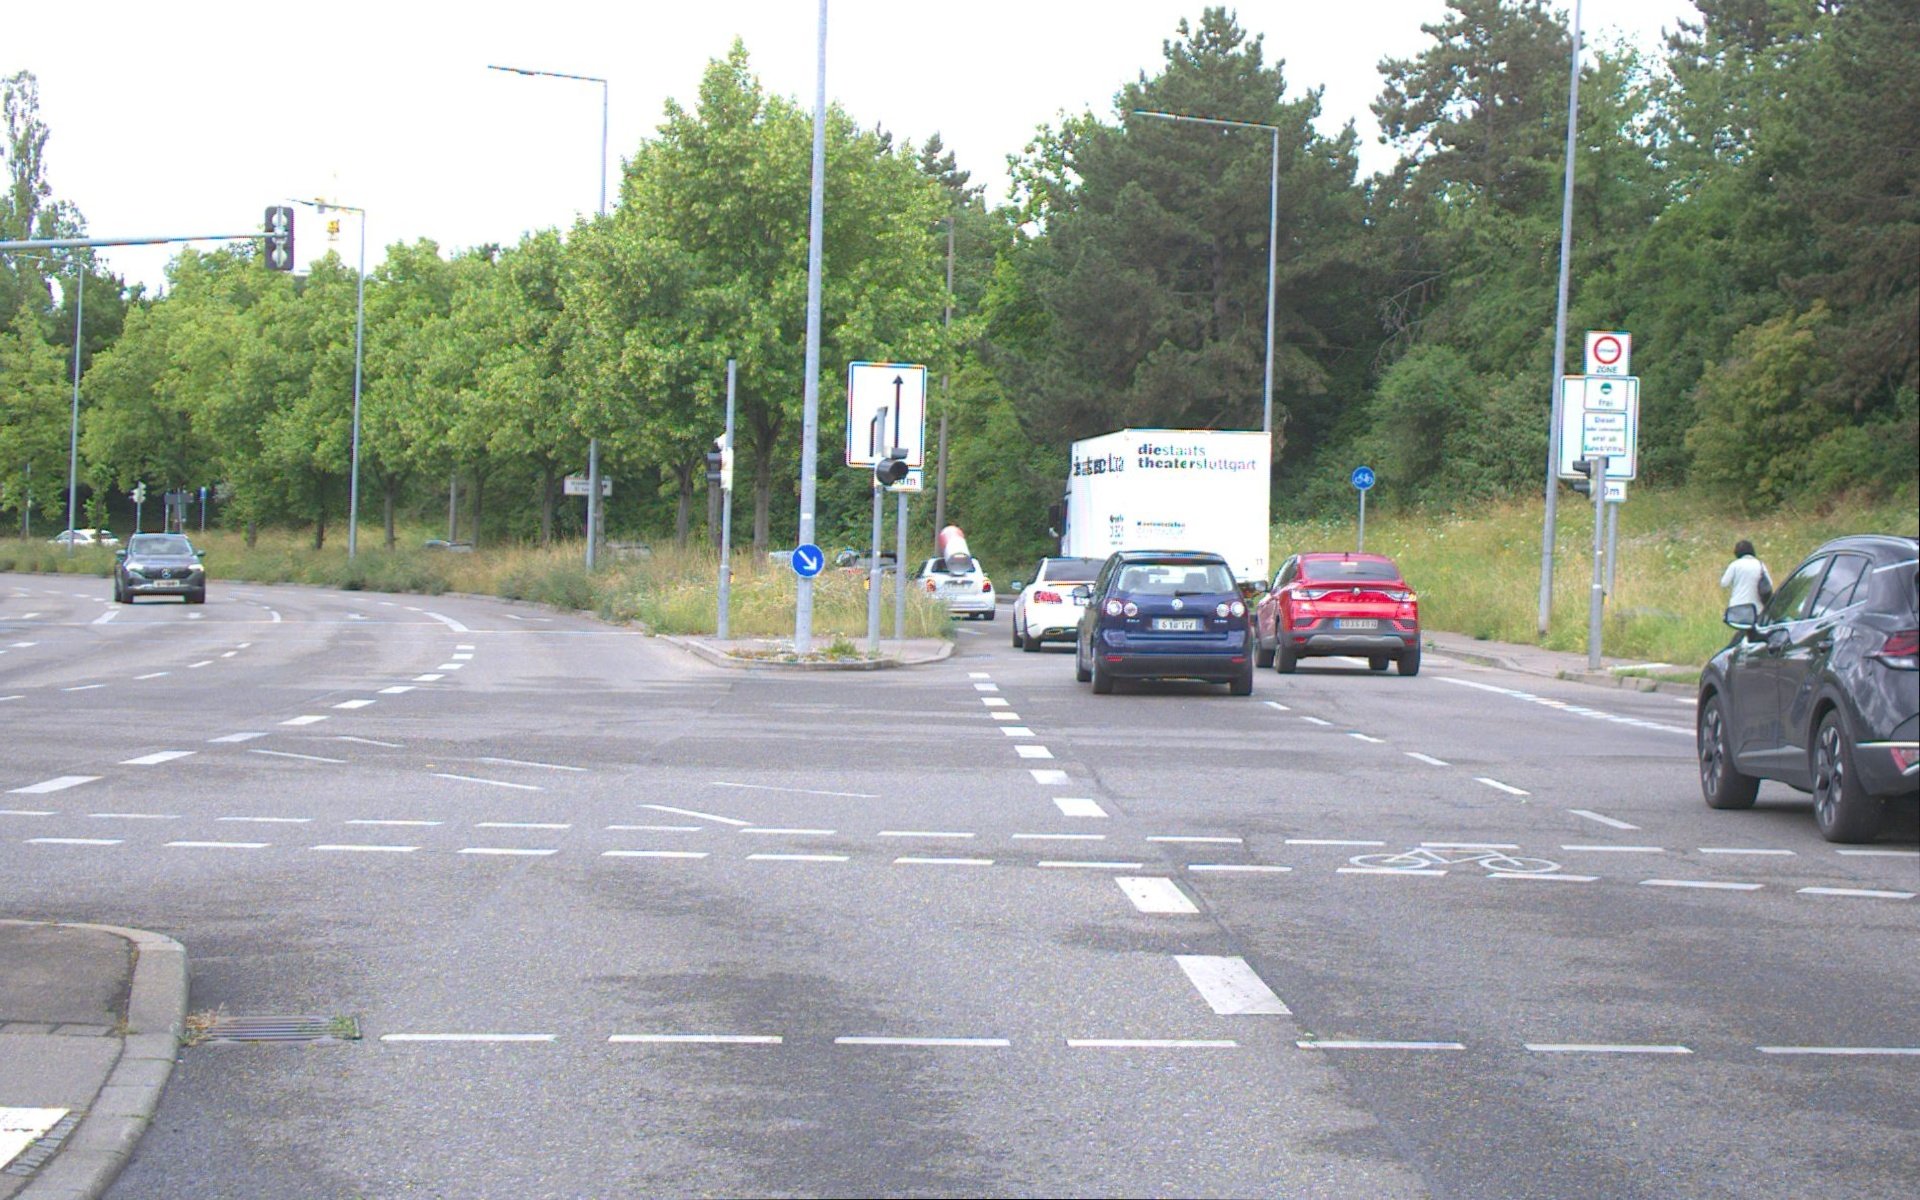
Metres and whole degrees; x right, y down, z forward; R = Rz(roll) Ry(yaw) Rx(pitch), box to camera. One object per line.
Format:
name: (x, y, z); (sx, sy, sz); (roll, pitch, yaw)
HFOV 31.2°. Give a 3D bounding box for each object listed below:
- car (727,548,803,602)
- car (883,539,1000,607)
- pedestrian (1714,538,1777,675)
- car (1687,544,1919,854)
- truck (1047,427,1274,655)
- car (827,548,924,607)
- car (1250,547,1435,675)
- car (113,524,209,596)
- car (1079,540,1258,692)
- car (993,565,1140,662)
car: (-5.671, -0.737, 99.576); (1.583, 1.488, 3.445); (1, 1, -14)
car: (-0.450, -0.618, 78.832); (1.820, 1.501, 3.495); (1, 1, -16)
pedestrian: (9.598, 0.078, 42.010); (0.644, 1.656, 0.713); (1, 0, 6)
car: (5.404, 0.482, 19.049); (1.793, 1.525, 4.218); (1, 0, -1)
truck: (3.589, -1.146, 64.358); (2.802, 3.890, 10.184); (1, 1, -5)
car: (-2.259, -0.603, 90.853); (1.623, 1.488, 3.838); (1, 1, -16)
car: (4.938, 0.104, 44.919); (1.847, 1.525, 4.377); (1, 1, -1)
car: (-18.302, -0.907, 78.656); (1.794, 1.582, 4.001); (1, 0, -18)
car: (2.275, 0.151, 38.361); (1.664, 1.593, 3.997); (1, 0, -1)
car: (1.589, 0.182, 52.695); (1.799, 1.407, 4.318); (1, 0, -4)
